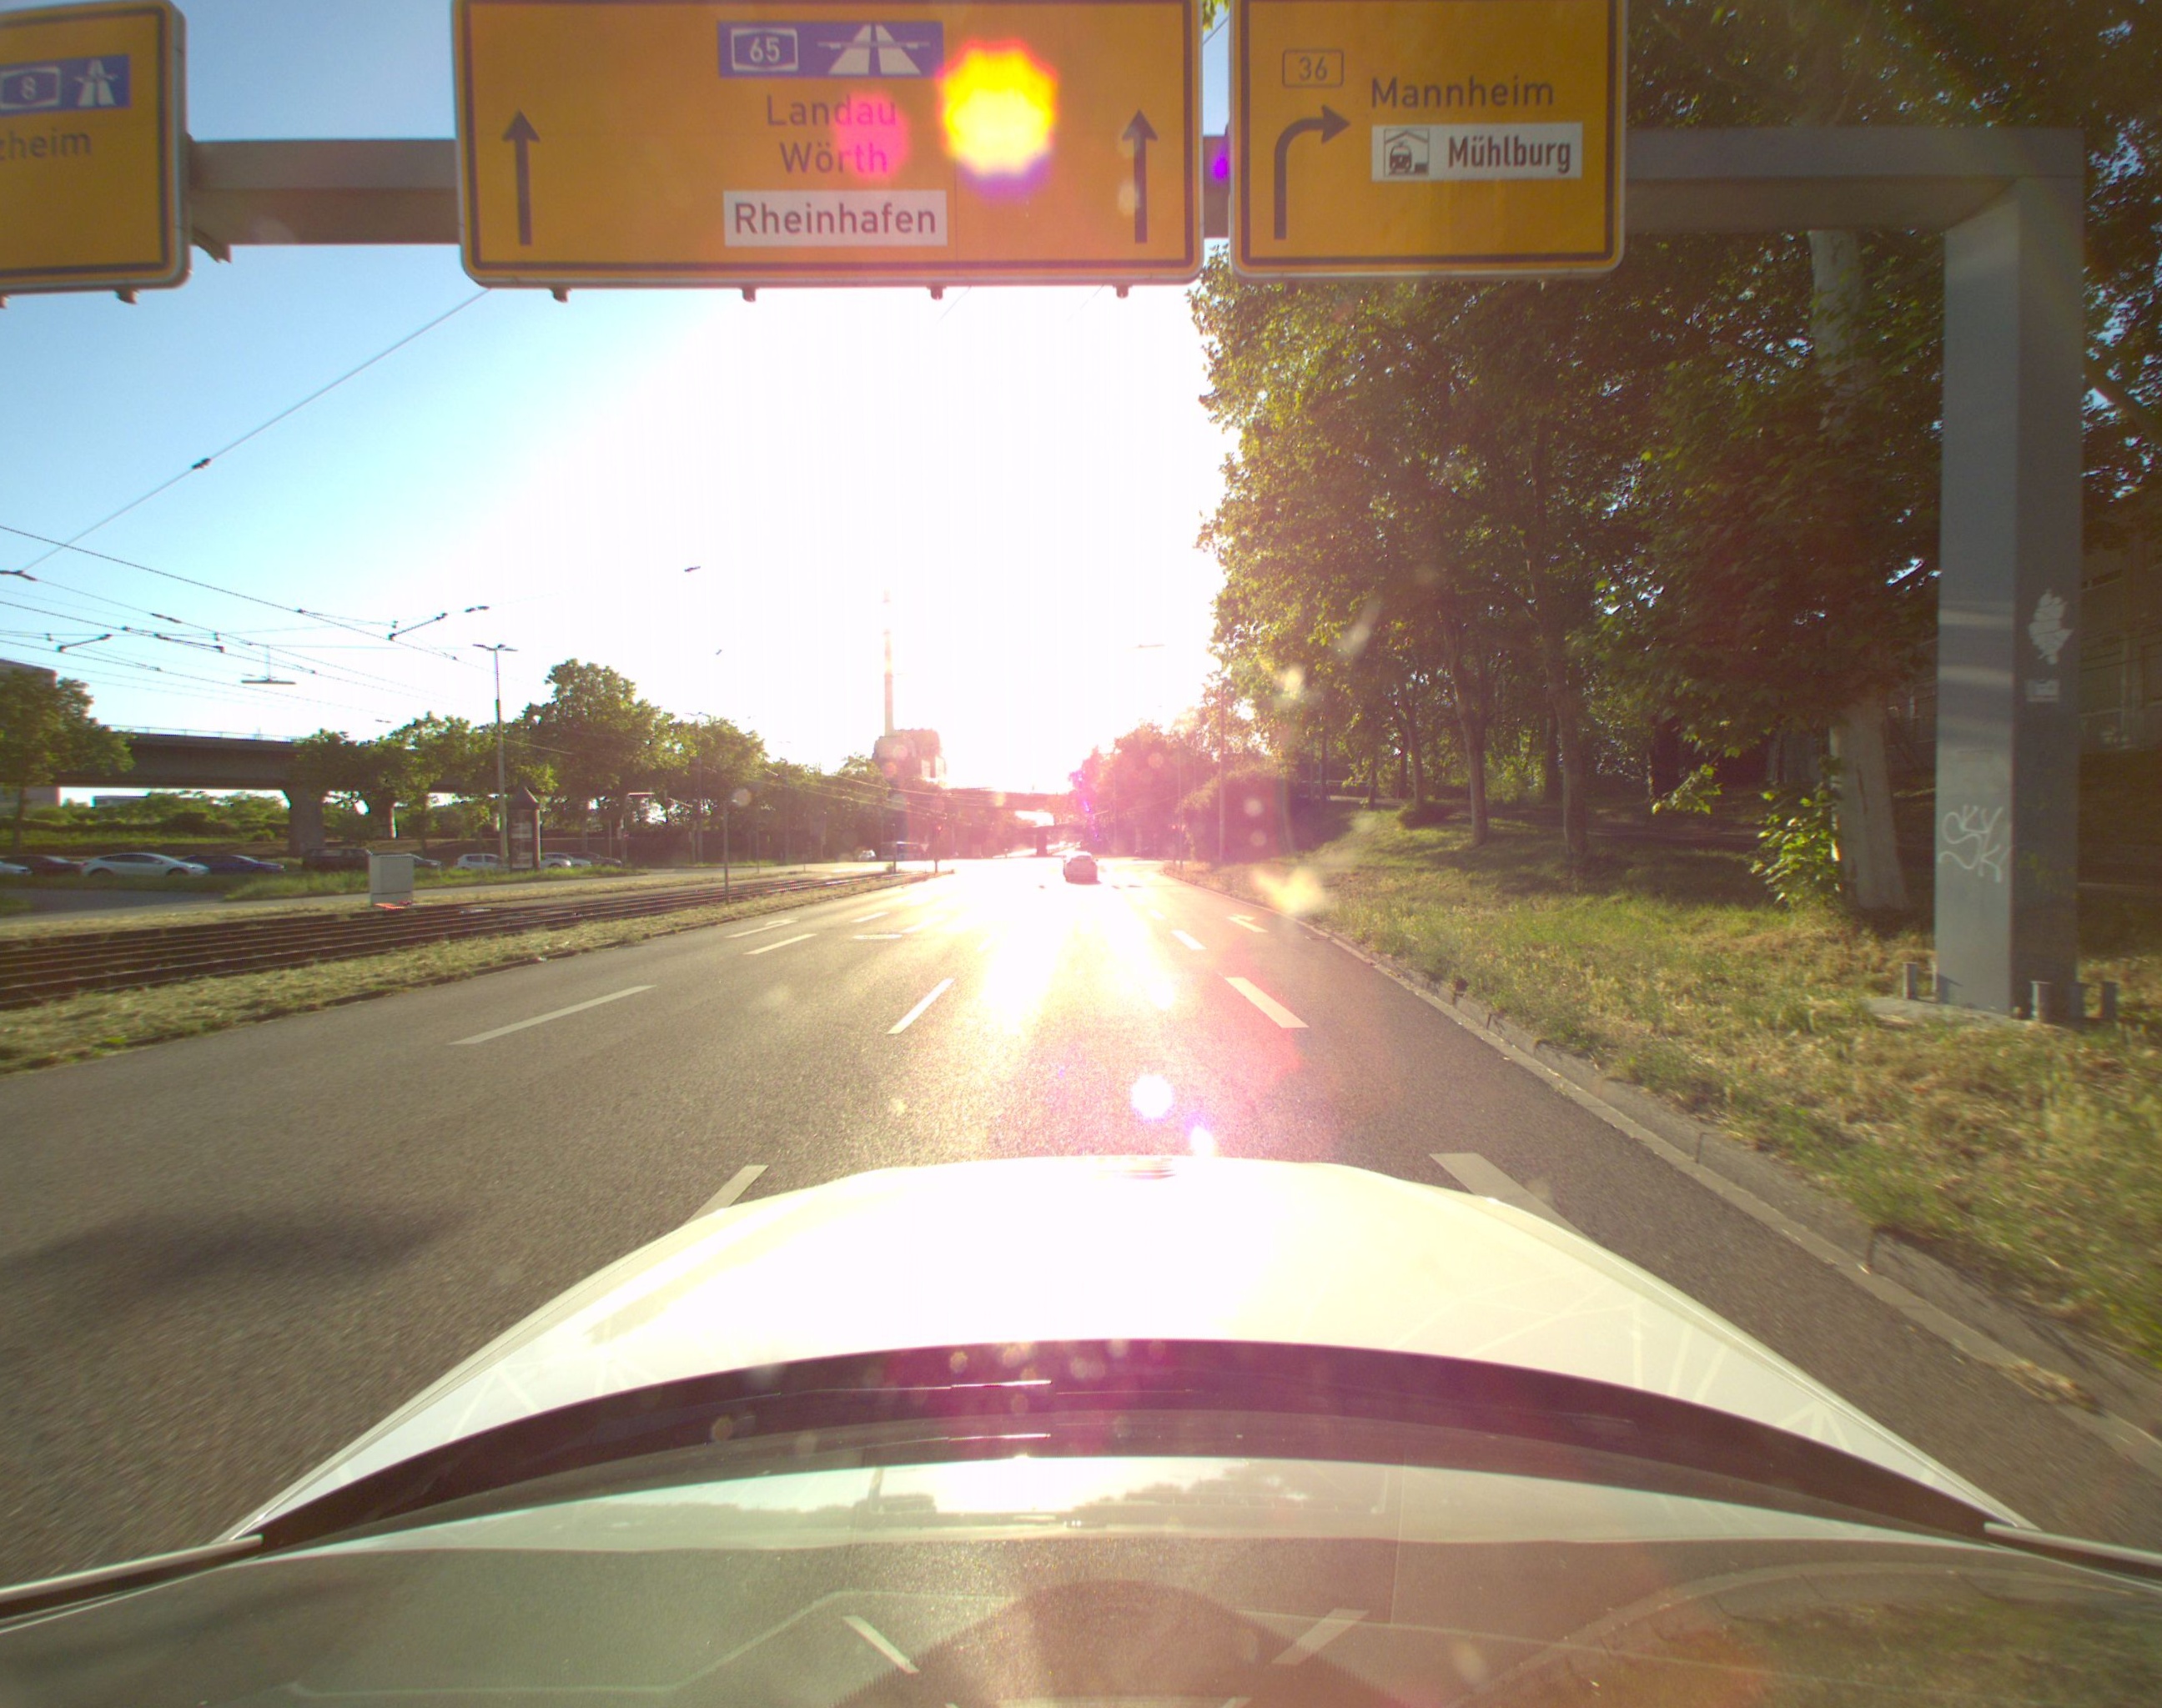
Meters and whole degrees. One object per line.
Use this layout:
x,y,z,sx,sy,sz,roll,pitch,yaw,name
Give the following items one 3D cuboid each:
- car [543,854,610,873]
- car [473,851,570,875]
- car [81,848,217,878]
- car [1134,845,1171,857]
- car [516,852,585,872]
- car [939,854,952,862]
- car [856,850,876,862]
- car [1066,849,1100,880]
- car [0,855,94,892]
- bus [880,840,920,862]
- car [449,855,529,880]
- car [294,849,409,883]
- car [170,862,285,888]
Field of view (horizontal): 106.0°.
-40.164,0.742,64.976,4.459,1.404,1.654,-1,1,-31,car
-39.380,0.602,57.515,5.373,1.574,1.727,-1,1,-23,car
-52.808,0.503,46.277,4.780,1.574,1.678,1,1,-30,car
9.279,-0.433,106.081,4.587,1.574,1.684,0,1,-17,car
-39.869,0.577,61.346,4.206,1.404,1.656,0,1,-28,car
-25.374,0.734,152.320,1.600,1.419,4.010,0,1,2,car
-28.235,0.255,107.001,1.602,1.512,4.006,0,1,-1,car
0.070,0.509,43.439,1.731,1.505,3.999,-1,1,-1,car
-59.753,1.076,46.379,4.011,2.013,1.981,-1,0,-29,car
-27.423,-0.327,124.231,2.533,3.130,12.927,-1,-1,3,bus
-39.199,0.858,54.013,4.008,1.574,1.679,-1,1,-26,car
-45.067,0.679,50.498,4.959,1.991,2.018,-1,1,-30,car
-52.933,1.264,50.657,4.641,1.458,1.677,-1,1,-31,car
